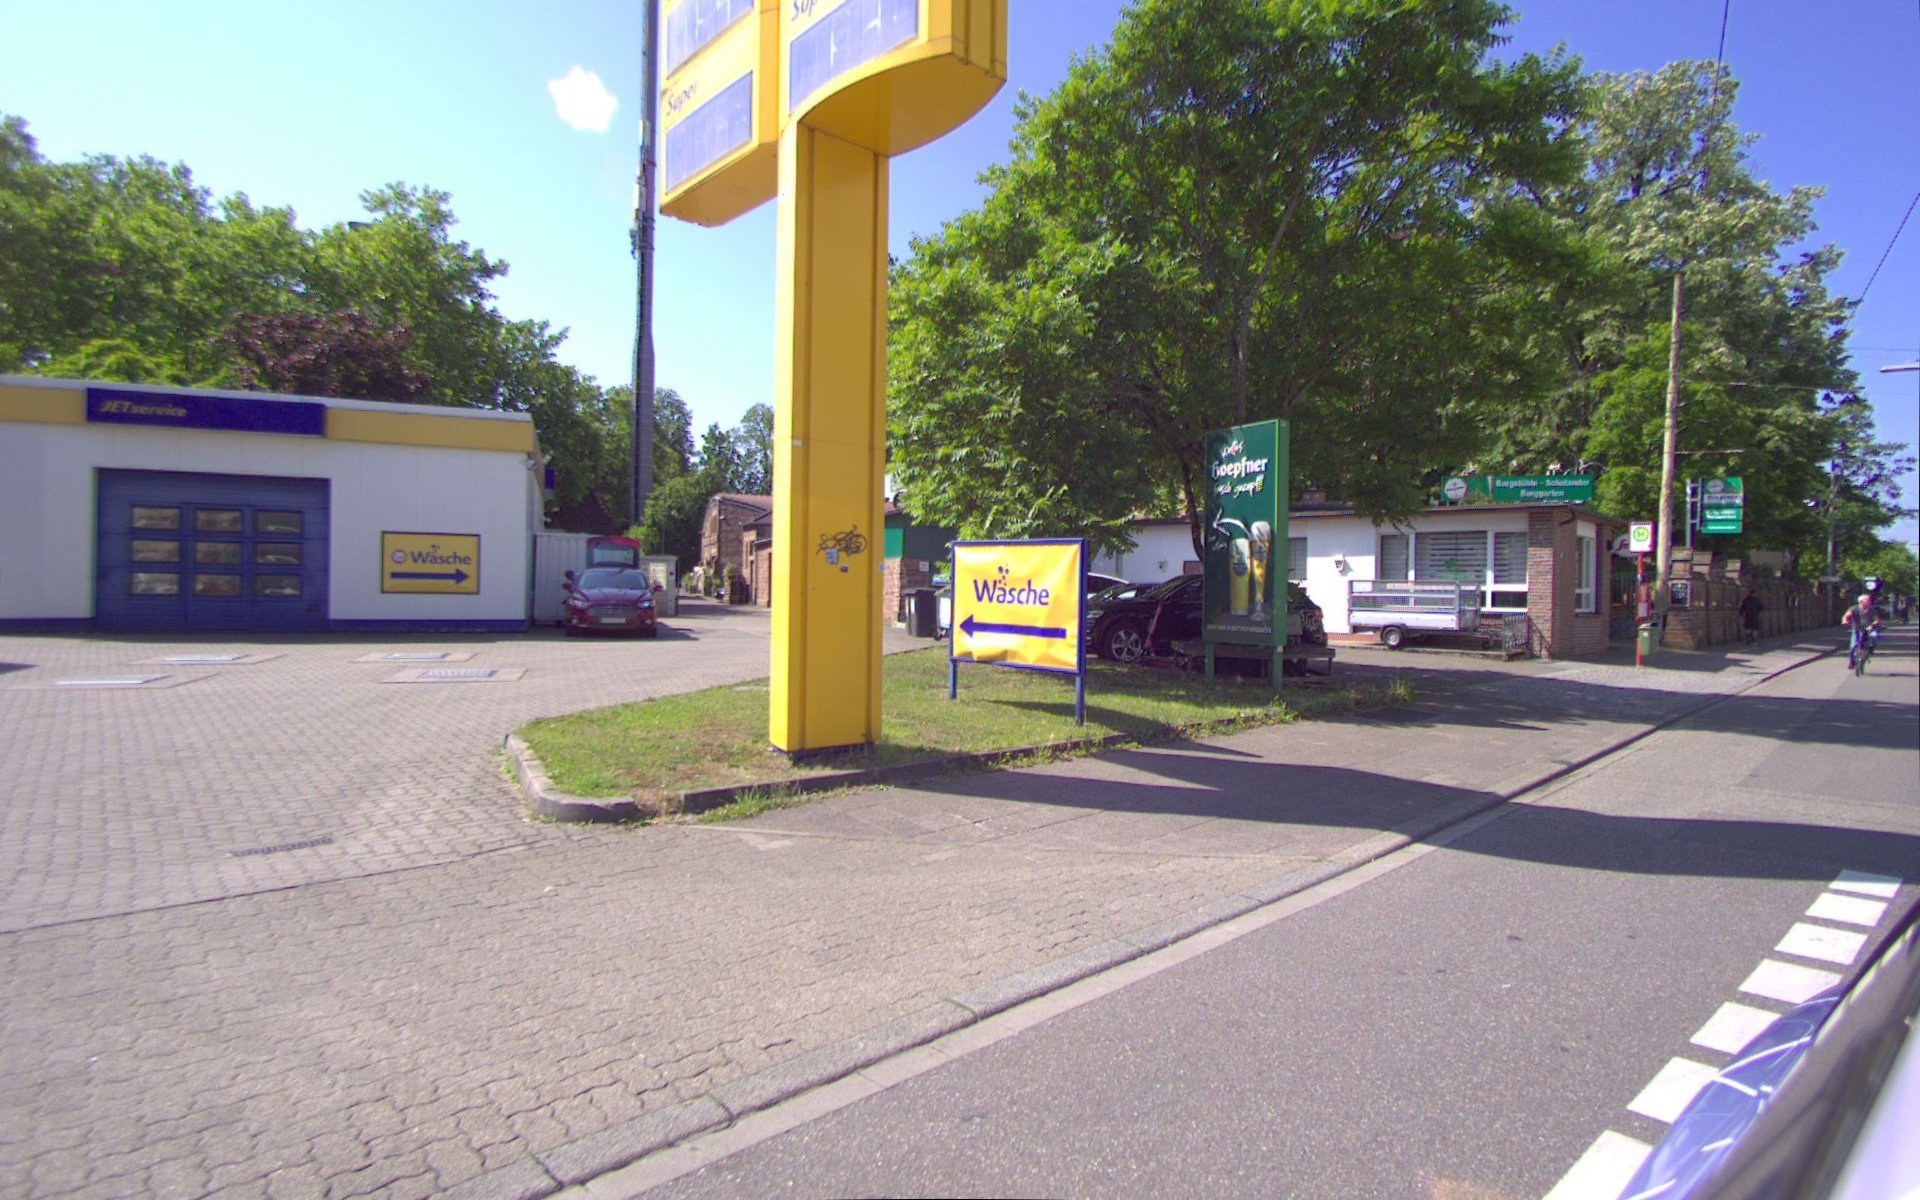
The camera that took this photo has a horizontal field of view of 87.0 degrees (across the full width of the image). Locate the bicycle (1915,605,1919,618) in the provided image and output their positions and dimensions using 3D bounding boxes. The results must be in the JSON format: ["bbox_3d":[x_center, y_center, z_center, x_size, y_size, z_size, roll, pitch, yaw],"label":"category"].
[{"bbox_3d":[85.369,1.021,89.929,2.020,1.119,0.592,0,1,-45],"label":"bicycle"}]

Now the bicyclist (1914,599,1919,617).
[{"bbox_3d":[85.314,0.710,89.877,0.932,1.550,0.741,1,1,-44],"label":"bicyclist"}]

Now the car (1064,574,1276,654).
[{"bbox_3d":[4.237,0.256,20.885,3.923,1.492,1.848,1,1,-1],"label":"car"}]

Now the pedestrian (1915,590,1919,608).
[{"bbox_3d":[109.393,-0.081,115.106,1.104,2.039,1.147,-1,-1,45],"label":"pedestrian"}]

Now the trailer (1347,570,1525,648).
[{"bbox_3d":[10.830,0.167,23.154,1.694,1.623,3.278,1,1,-43],"label":"trailer"}]

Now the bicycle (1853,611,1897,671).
[{"bbox_3d":[19.705,0.864,21.781,0.610,1.212,2.090,-3,-2,43],"label":"bicycle"}]

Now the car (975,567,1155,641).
[{"bbox_3d":[2.370,0.084,23.591,3.923,1.576,1.848,1,1,-1],"label":"car"}]

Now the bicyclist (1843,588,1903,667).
[{"bbox_3d":[19.505,0.567,21.624,0.904,1.615,0.949,1,0,45],"label":"bicyclist"}]

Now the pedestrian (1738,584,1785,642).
[{"bbox_3d":[26.947,0.436,34.013,1.165,1.837,0.978,1,4,-44],"label":"pedestrian"}]

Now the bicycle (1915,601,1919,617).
[{"bbox_3d":[109.581,0.992,115.289,0.997,1.766,3.112,-1,-1,45],"label":"bicycle"}]

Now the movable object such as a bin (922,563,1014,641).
[{"bbox_3d":[0.150,0.029,20.854,1.351,1.521,1.424,1,1,-29],"label":"movable object such as a bin"}]

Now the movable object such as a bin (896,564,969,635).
[{"bbox_3d":[-0.632,-0.022,22.621,1.303,1.521,1.333,1,1,-16],"label":"movable object such as a bin"}]

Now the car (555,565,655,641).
[{"bbox_3d":[-7.715,0.018,22.121,1.853,1.478,4.566,0,1,-19],"label":"car"}]

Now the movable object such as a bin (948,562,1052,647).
[{"bbox_3d":[0.758,0.063,19.219,1.355,1.521,1.420,1,1,-41],"label":"movable object such as a bin"}]

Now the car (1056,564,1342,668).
[{"bbox_3d":[4.139,0.249,18.117,4.570,1.661,2.021,1,1,-1],"label":"car"}]
